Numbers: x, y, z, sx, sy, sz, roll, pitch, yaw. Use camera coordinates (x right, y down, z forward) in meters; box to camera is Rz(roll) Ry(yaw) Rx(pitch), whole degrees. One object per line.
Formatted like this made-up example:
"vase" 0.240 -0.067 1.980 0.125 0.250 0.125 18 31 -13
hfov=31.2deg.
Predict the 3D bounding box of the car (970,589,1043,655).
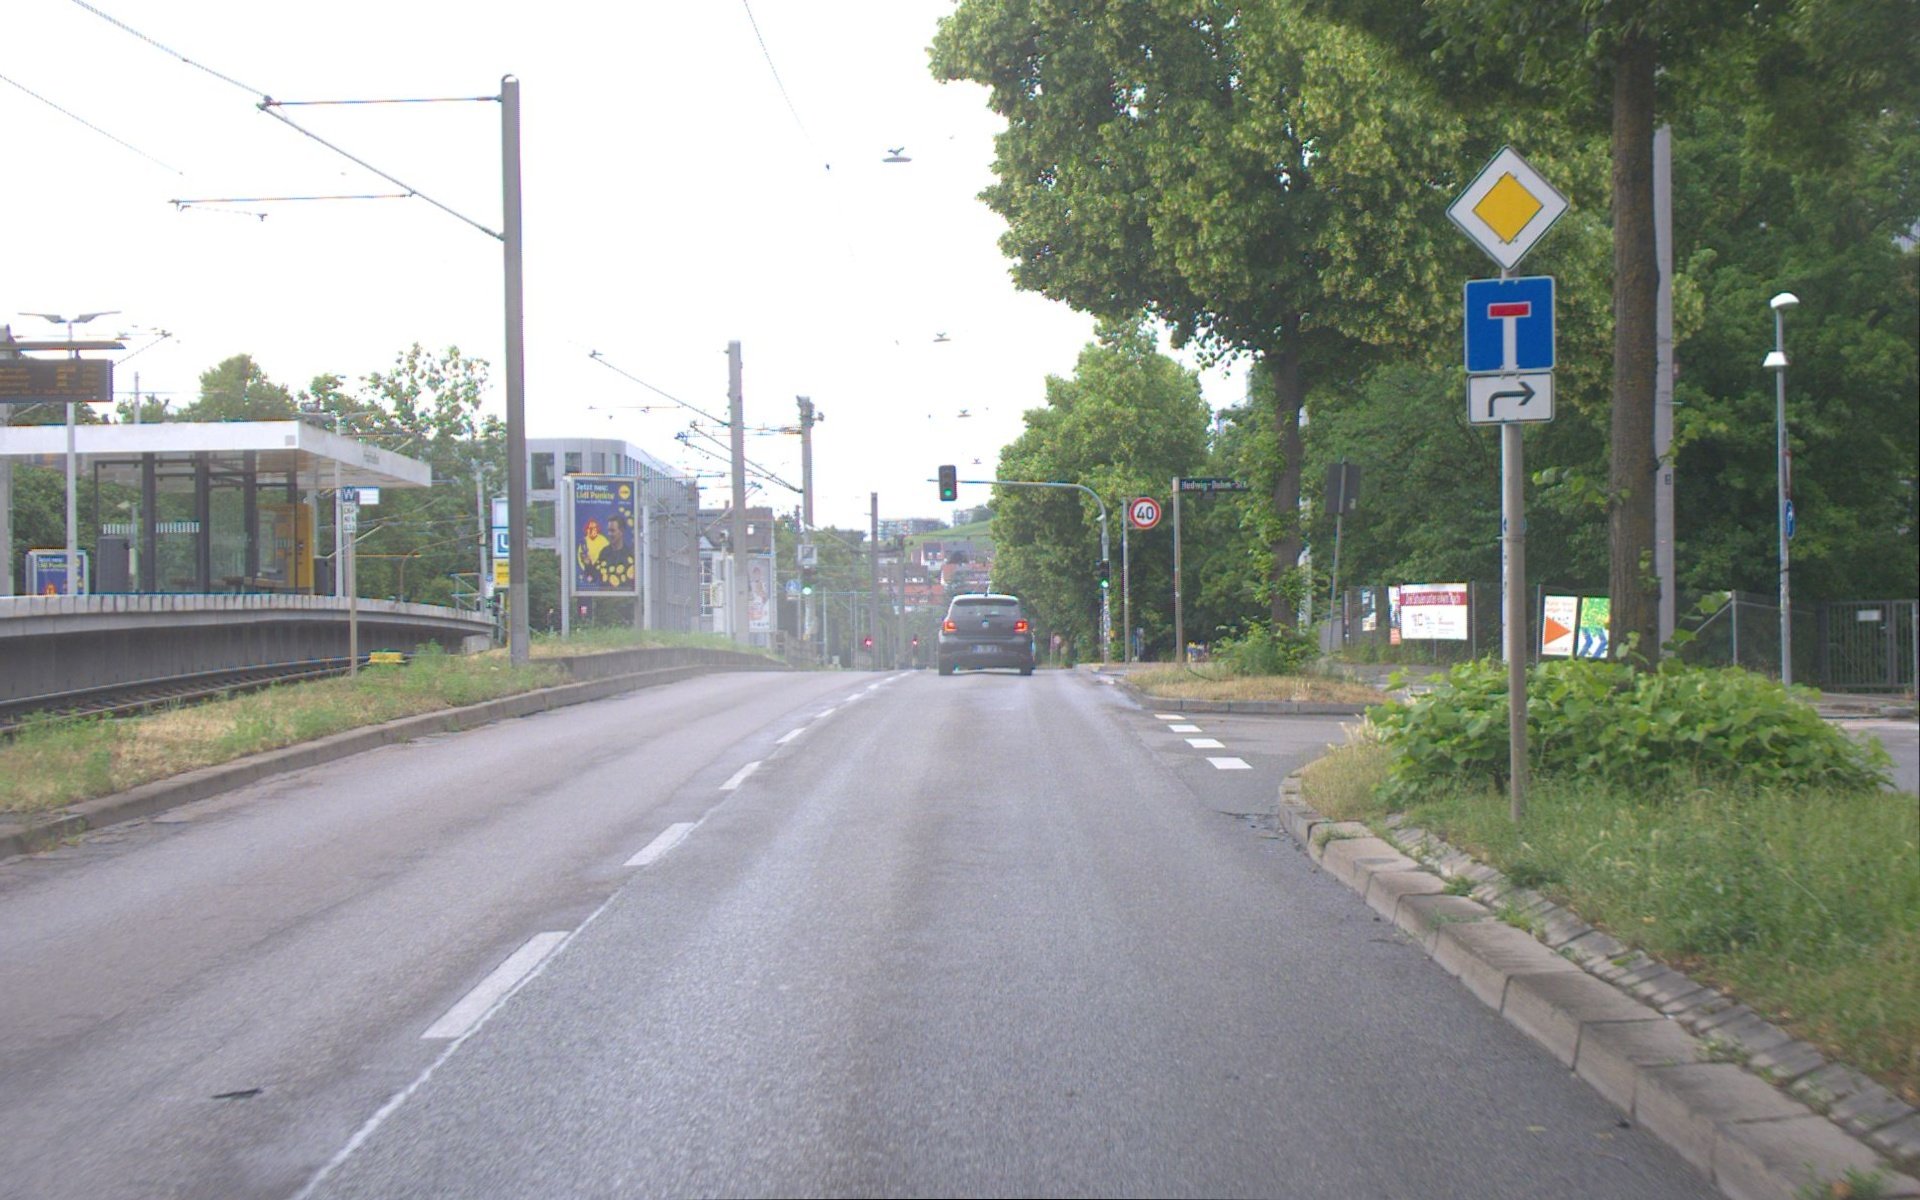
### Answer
"car" 1.129 0.522 84.316 1.687 1.512 4.000 -1 1 -1

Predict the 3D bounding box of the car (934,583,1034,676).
"car" 0.414 0.501 61.603 1.726 1.535 4.000 -1 1 0
